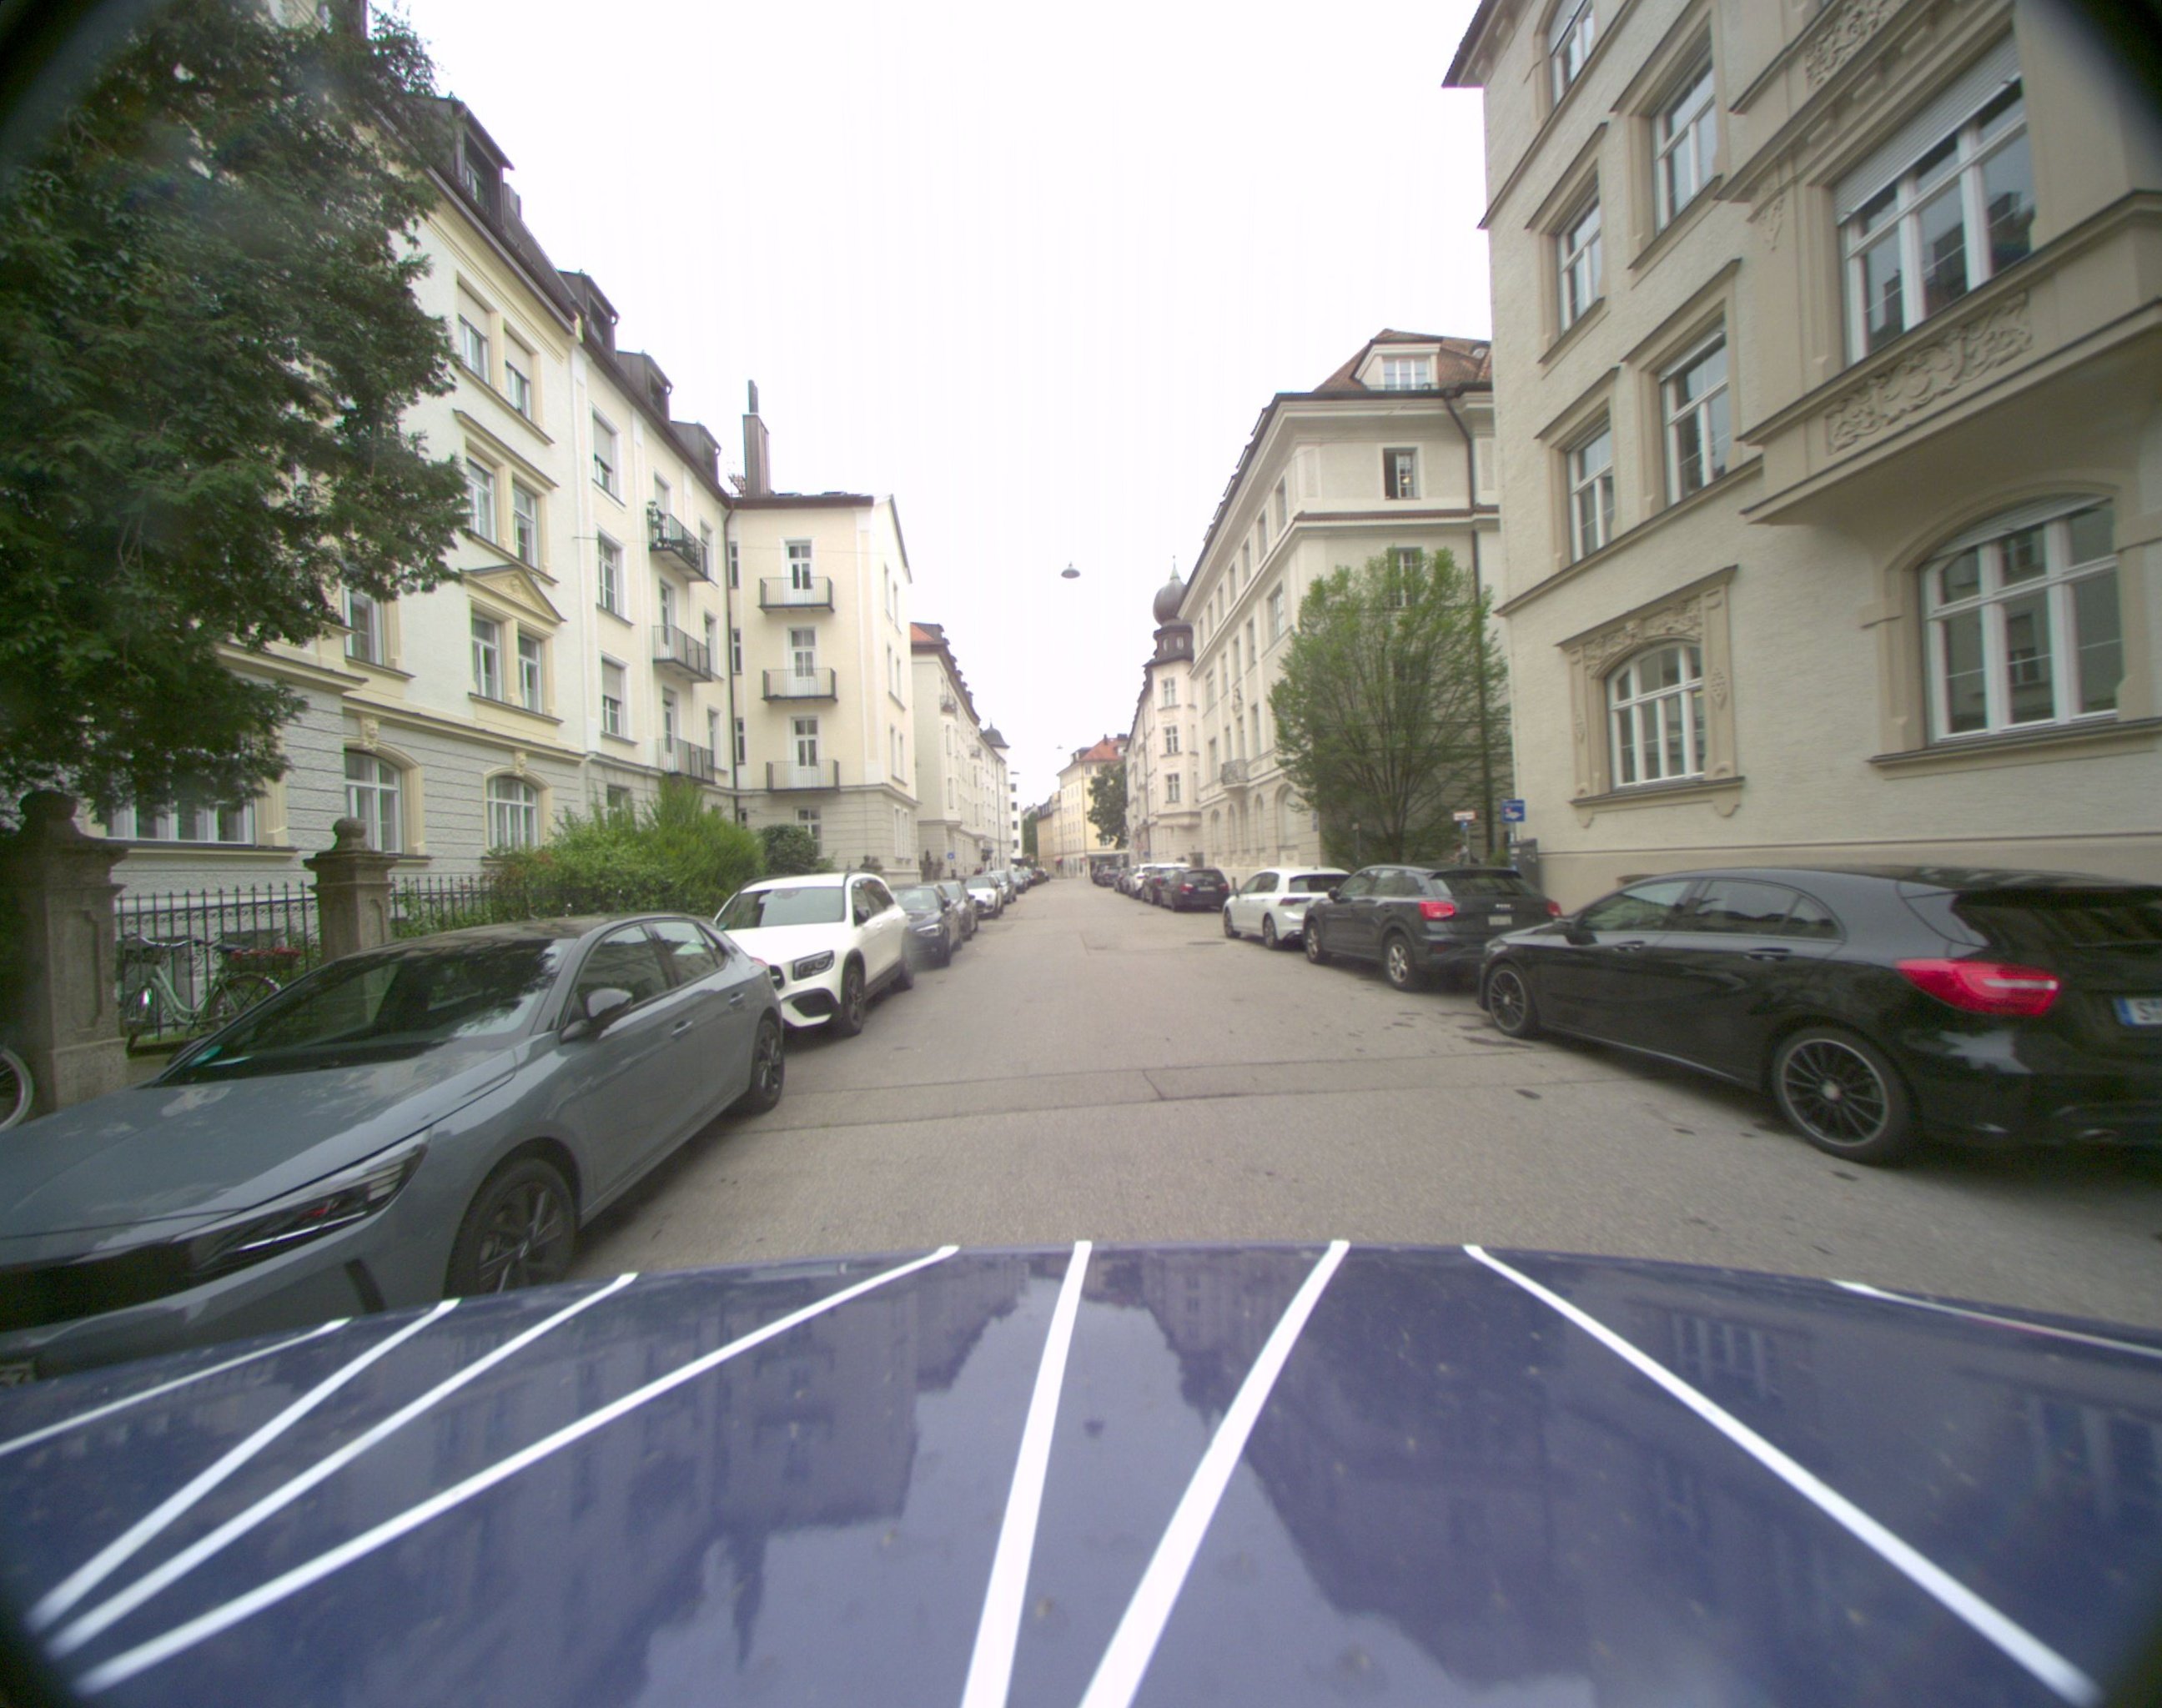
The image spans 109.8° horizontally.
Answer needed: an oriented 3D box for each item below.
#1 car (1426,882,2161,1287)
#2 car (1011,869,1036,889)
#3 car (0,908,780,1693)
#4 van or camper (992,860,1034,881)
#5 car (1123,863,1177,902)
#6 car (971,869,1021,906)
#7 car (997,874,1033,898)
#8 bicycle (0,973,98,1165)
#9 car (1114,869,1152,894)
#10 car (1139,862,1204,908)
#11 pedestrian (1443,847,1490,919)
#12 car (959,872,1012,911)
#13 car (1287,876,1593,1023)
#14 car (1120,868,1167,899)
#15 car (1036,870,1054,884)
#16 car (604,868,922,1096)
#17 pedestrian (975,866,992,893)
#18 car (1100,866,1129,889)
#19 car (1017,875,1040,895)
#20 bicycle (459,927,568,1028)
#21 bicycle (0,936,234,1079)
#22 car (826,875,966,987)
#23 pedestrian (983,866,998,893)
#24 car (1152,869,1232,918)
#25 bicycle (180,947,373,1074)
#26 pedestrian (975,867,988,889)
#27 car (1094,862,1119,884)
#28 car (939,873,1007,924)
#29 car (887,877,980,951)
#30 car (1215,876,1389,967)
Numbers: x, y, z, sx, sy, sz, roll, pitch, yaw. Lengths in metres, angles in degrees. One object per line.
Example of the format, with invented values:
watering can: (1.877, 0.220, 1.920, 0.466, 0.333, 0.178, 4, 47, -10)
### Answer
car: (4.399, 0.942, 5.152, 1.838, 1.425, 4.553, -1, -1, -3)
car: (-4.647, 2.000, 61.402, 1.842, 1.390, 4.973, -4, -1, -5)
car: (-2.930, 1.182, 3.488, 1.728, 1.509, 3.630, -5, 0, -4)
van or camper: (-9.922, 2.444, 111.265, 5.870, 2.696, 2.304, -2, -4, -8)
car: (3.150, 1.304, 35.395, 1.920, 1.609, 4.572, -3, -1, -1)
car: (-4.090, 1.599, 37.119, 1.827, 1.559, 4.401, -5, -1, 0)
car: (-4.422, 2.128, 51.647, 1.999, 1.448, 4.713, -3, -1, -1)
bicycle: (-6.865, 1.365, 4.557, 0.515, 1.088, 1.352, -2, -1, -20)
car: (3.039, 1.628, 45.277, 1.797, 1.406, 4.278, 0, -1, -2)
car: (3.471, 1.203, 29.937, 1.841, 1.609, 4.244, -3, -1, -2)
pedestrian: (8.952, 0.676, 17.644, 0.675, 1.616, 0.631, -2, -1, -5)
car: (-3.879, 1.514, 31.360, 1.759, 1.398, 3.451, -3, -1, -2)
car: (4.353, 1.058, 10.111, 1.775, 1.509, 4.384, 0, -2, -4)
car: (3.253, 1.544, 40.588, 1.788, 1.532, 4.256, 0, -1, -5)
car: (-4.508, 2.886, 95.201, 1.841, 1.609, 4.095, -5, -1, 0)
car: (-3.184, 1.138, 8.720, 1.727, 1.758, 4.413, -5, 0, -1)
pedestrian: (-6.647, 1.706, 51.646, 0.885, 1.801, 1.111, -2, 0, 3)
car: (2.484, 1.727, 56.501, 1.731, 1.609, 4.121, 0, -1, -3)
car: (-4.838, 2.855, 70.655, 1.805, 1.664, 4.189, -6, -1, -2)
bicycle: (-7.311, 1.558, 9.852, 0.455, 1.092, 1.313, -2, -1, -3)
bicycle: (-9.442, 1.470, 7.386, 1.704, 1.176, 0.489, -4, 0, -4)
car: (-3.182, 1.257, 13.943, 1.755, 1.601, 4.423, -4, -1, -5)
pedestrian: (-5.994, 1.680, 50.552, 0.886, 1.776, 1.111, -2, 0, -5)
car: (3.579, 1.250, 25.299, 1.792, 1.404, 4.367, -3, -1, -2)
bicycle: (-7.882, 1.520, 7.475, 1.313, 1.092, 0.456, -2, 0, -4)
pedestrian: (-8.533, 2.061, 65.237, 0.885, 1.802, 1.111, -3, -1, -1)
car: (2.248, 1.723, 68.336, 1.841, 1.883, 4.763, -1, -1, -2)
car: (-3.585, 1.451, 25.941, 1.789, 1.495, 4.065, -3, -1, -2)
car: (-3.496, 1.371, 18.683, 1.688, 1.495, 4.017, -3, -1, -4)
car: (3.985, 1.158, 14.508, 1.841, 1.425, 4.244, -1, -1, -3)
